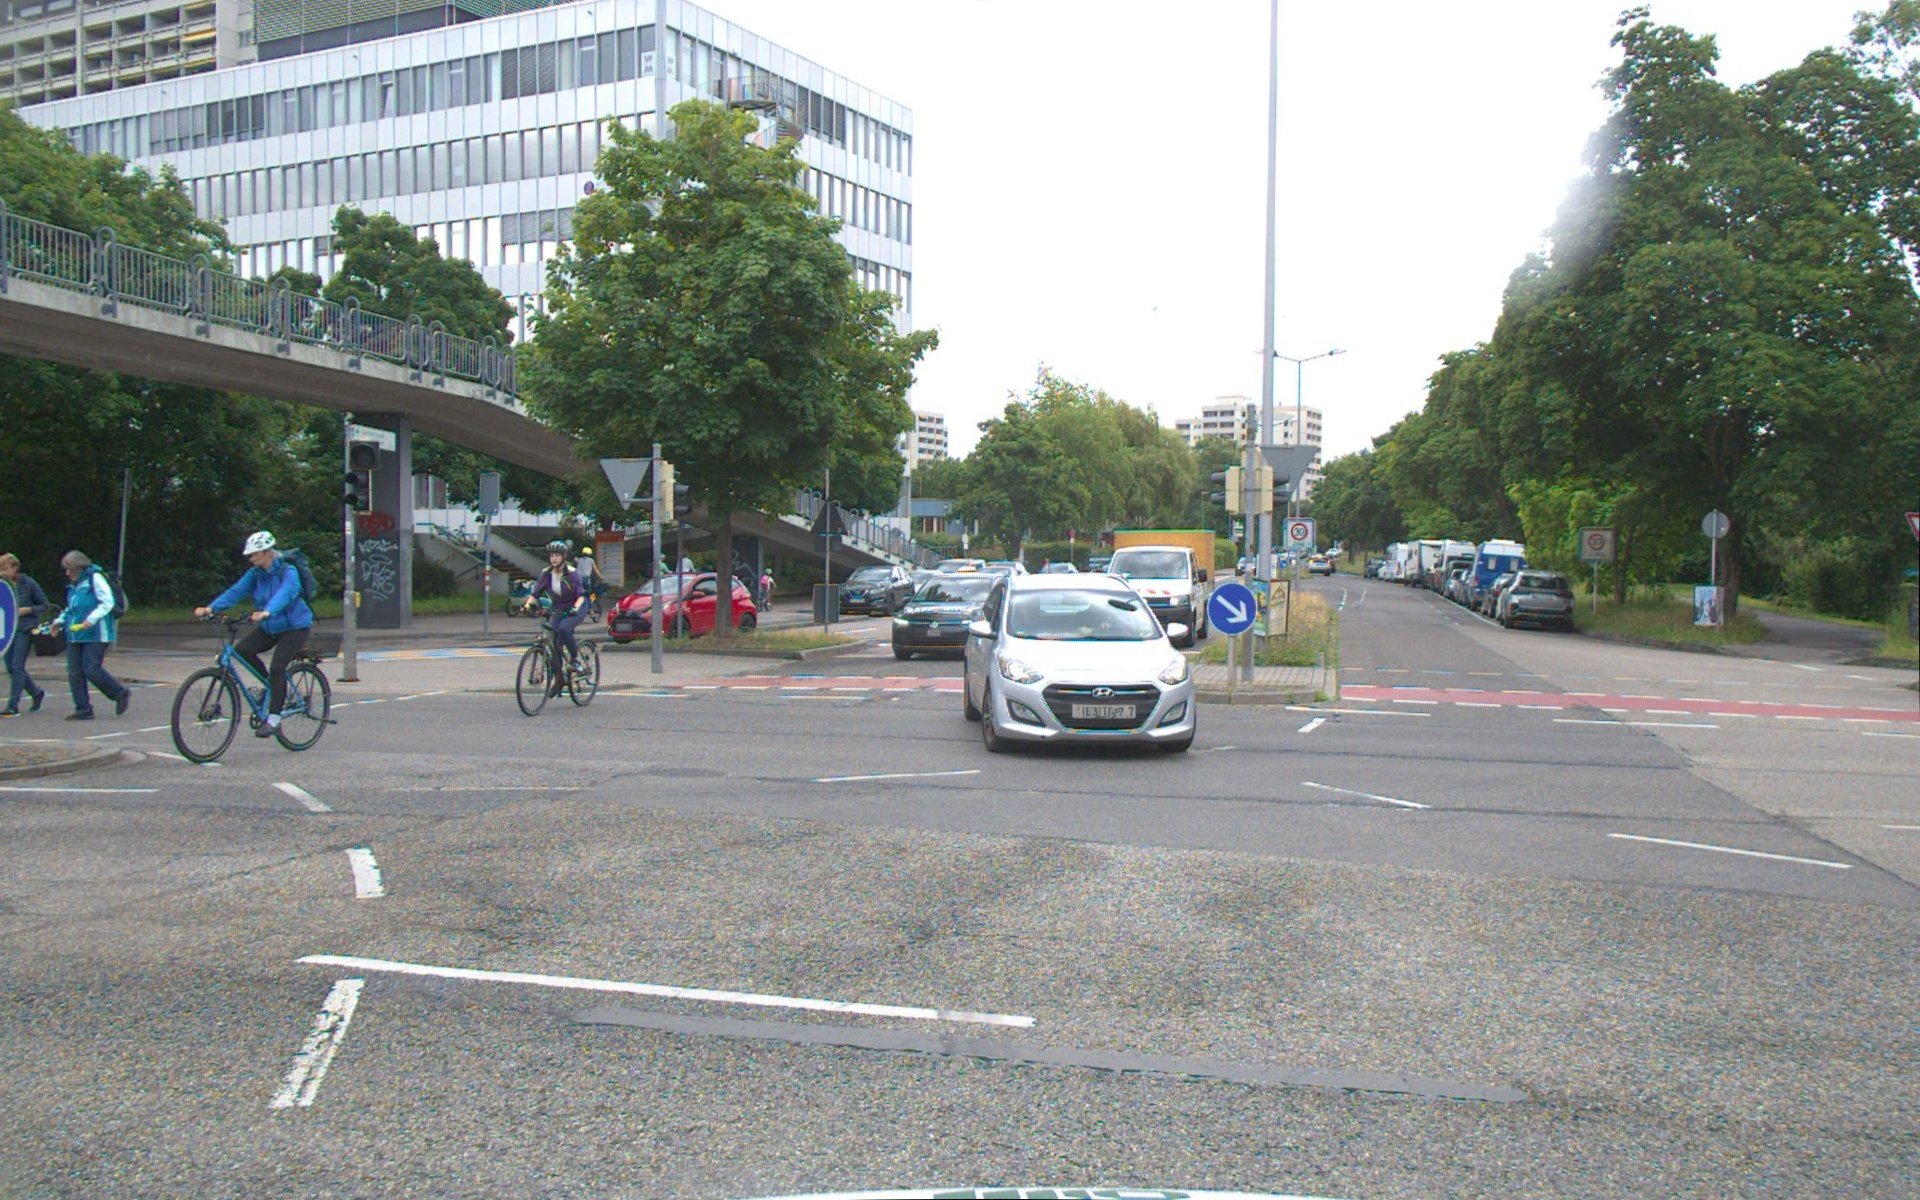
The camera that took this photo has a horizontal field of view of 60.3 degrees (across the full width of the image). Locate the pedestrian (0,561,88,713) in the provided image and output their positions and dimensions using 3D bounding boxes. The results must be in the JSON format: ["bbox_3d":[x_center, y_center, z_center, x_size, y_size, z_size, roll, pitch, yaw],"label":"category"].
[{"bbox_3d":[-9.513,0.373,16.981,0.898,1.537,0.404,0,1,1],"label":"pedestrian"}]

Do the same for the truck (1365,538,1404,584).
[{"bbox_3d":[29.193,-2.648,113.841,1.951,3.061,5.777,0,1,8],"label":"truck"}]

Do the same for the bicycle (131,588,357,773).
[{"bbox_3d":[-5.586,0.576,13.057,0.531,1.289,2.113,1,1,11],"label":"bicycle"}]

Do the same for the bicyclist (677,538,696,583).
[{"bbox_3d":[-7.429,-1.068,44.952,0.396,1.202,0.378,2,2,13],"label":"bicyclist"}]

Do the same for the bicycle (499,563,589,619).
[{"bbox_3d":[-10.719,-0.264,42.778,0.838,1.338,3.233,1,2,13],"label":"bicycle"}]

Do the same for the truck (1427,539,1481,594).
[{"bbox_3d":[27.106,-1.838,90.905,1.951,2.887,5.737,1,1,8],"label":"truck"}]

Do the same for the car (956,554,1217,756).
[{"bbox_3d":[1.012,0.386,15.352,1.754,1.545,4.322,1,2,-5],"label":"car"}]

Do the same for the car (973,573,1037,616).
[{"bbox_3d":[1.517,-0.210,55.090,1.525,1.369,2.975,1,1,14],"label":"car"}]

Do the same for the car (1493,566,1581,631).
[{"bbox_3d":[16.013,-0.079,46.052,1.746,1.691,4.004,1,2,11],"label":"car"}]

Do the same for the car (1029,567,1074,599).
[{"bbox_3d":[4.671,-0.886,84.052,1.636,1.579,4.004,1,1,12],"label":"car"}]

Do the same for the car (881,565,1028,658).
[{"bbox_3d":[-0.009,0.139,29.233,1.732,1.503,4.394,1,1,12],"label":"car"}]

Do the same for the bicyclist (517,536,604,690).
[{"bbox_3d":[-4.286,0.131,17.773,0.664,1.622,0.696,0,1,11],"label":"bicyclist"}]

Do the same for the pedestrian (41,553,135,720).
[{"bbox_3d":[-8.700,0.353,16.511,0.672,1.632,0.488,1,1,7],"label":"pedestrian"}]

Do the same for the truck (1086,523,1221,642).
[{"bbox_3d":[4.109,-0.408,34.167,2.109,2.237,5.846,1,2,13],"label":"truck"}]

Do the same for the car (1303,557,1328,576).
[{"bbox_3d":[29.332,-2.740,136.460,1.977,1.531,4.004,1,2,11],"label":"car"}]

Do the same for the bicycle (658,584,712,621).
[{"bbox_3d":[-7.469,0.063,45.045,0.746,0.965,1.955,1,1,14],"label":"bicycle"}]

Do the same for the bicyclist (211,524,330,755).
[{"bbox_3d":[-5.521,0.297,13.273,0.630,1.799,0.647,1,1,10],"label":"bicyclist"}]

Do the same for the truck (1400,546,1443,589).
[{"bbox_3d":[28.685,-2.001,102.919,1.951,2.617,5.383,1,1,9],"label":"truck"}]

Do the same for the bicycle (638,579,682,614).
[{"bbox_3d":[-8.701,-0.115,48.050,0.515,0.965,1.710,1,1,18],"label":"bicycle"}]

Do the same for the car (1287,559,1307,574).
[{"bbox_3d":[34.292,-3.447,168.311,1.977,1.531,4.004,1,2,11],"label":"car"}]

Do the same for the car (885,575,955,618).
[{"bbox_3d":[-1.399,-0.142,59.099,1.636,1.411,3.899,1,2,12],"label":"car"}]

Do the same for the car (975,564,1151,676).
[{"bbox_3d":[1.623,0.209,24.321,1.856,1.445,4.741,1,1,13],"label":"car"}]

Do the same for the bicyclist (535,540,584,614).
[{"bbox_3d":[-10.542,-0.622,43.568,0.838,1.925,1.129,1,2,13],"label":"bicyclist"}]

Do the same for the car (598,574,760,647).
[{"bbox_3d":[-5.778,0.180,34.388,1.483,1.414,3.528,1,1,28],"label":"car"}]

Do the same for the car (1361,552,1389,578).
[{"bbox_3d":[32.435,-2.742,129.352,1.616,1.951,3.923,1,2,8],"label":"car"}]

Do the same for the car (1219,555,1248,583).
[{"bbox_3d":[20.804,-2.388,125.827,1.951,2.048,4.004,1,1,12],"label":"car"}]

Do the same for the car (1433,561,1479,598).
[{"bbox_3d":[24.470,-1.018,81.690,1.683,1.790,4.004,1,1,10],"label":"car"}]

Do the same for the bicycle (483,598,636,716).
[{"bbox_3d":[-4.246,0.570,17.735,0.711,1.120,2.266,1,2,11],"label":"bicycle"}]

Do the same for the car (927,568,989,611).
[{"bbox_3d":[-0.052,-0.415,64.263,1.636,1.579,3.766,1,2,12],"label":"car"}]

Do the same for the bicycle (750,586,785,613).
[{"bbox_3d":[-6.000,-0.027,51.619,0.499,0.792,1.842,1,1,13],"label":"bicycle"}]

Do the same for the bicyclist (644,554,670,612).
[{"bbox_3d":[-8.769,-0.496,47.822,0.553,1.673,0.532,1,1,18],"label":"bicyclist"}]

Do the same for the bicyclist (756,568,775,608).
[{"bbox_3d":[-6.050,-0.381,51.522,0.421,1.238,0.568,1,1,11],"label":"bicyclist"}]

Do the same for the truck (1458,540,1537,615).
[{"bbox_3d":[20.179,-0.843,62.351,2.128,2.702,6.252,0,1,11],"label":"truck"}]

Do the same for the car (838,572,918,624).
[{"bbox_3d":[-2.626,-0.088,53.736,1.636,1.579,3.896,1,2,12],"label":"car"}]
